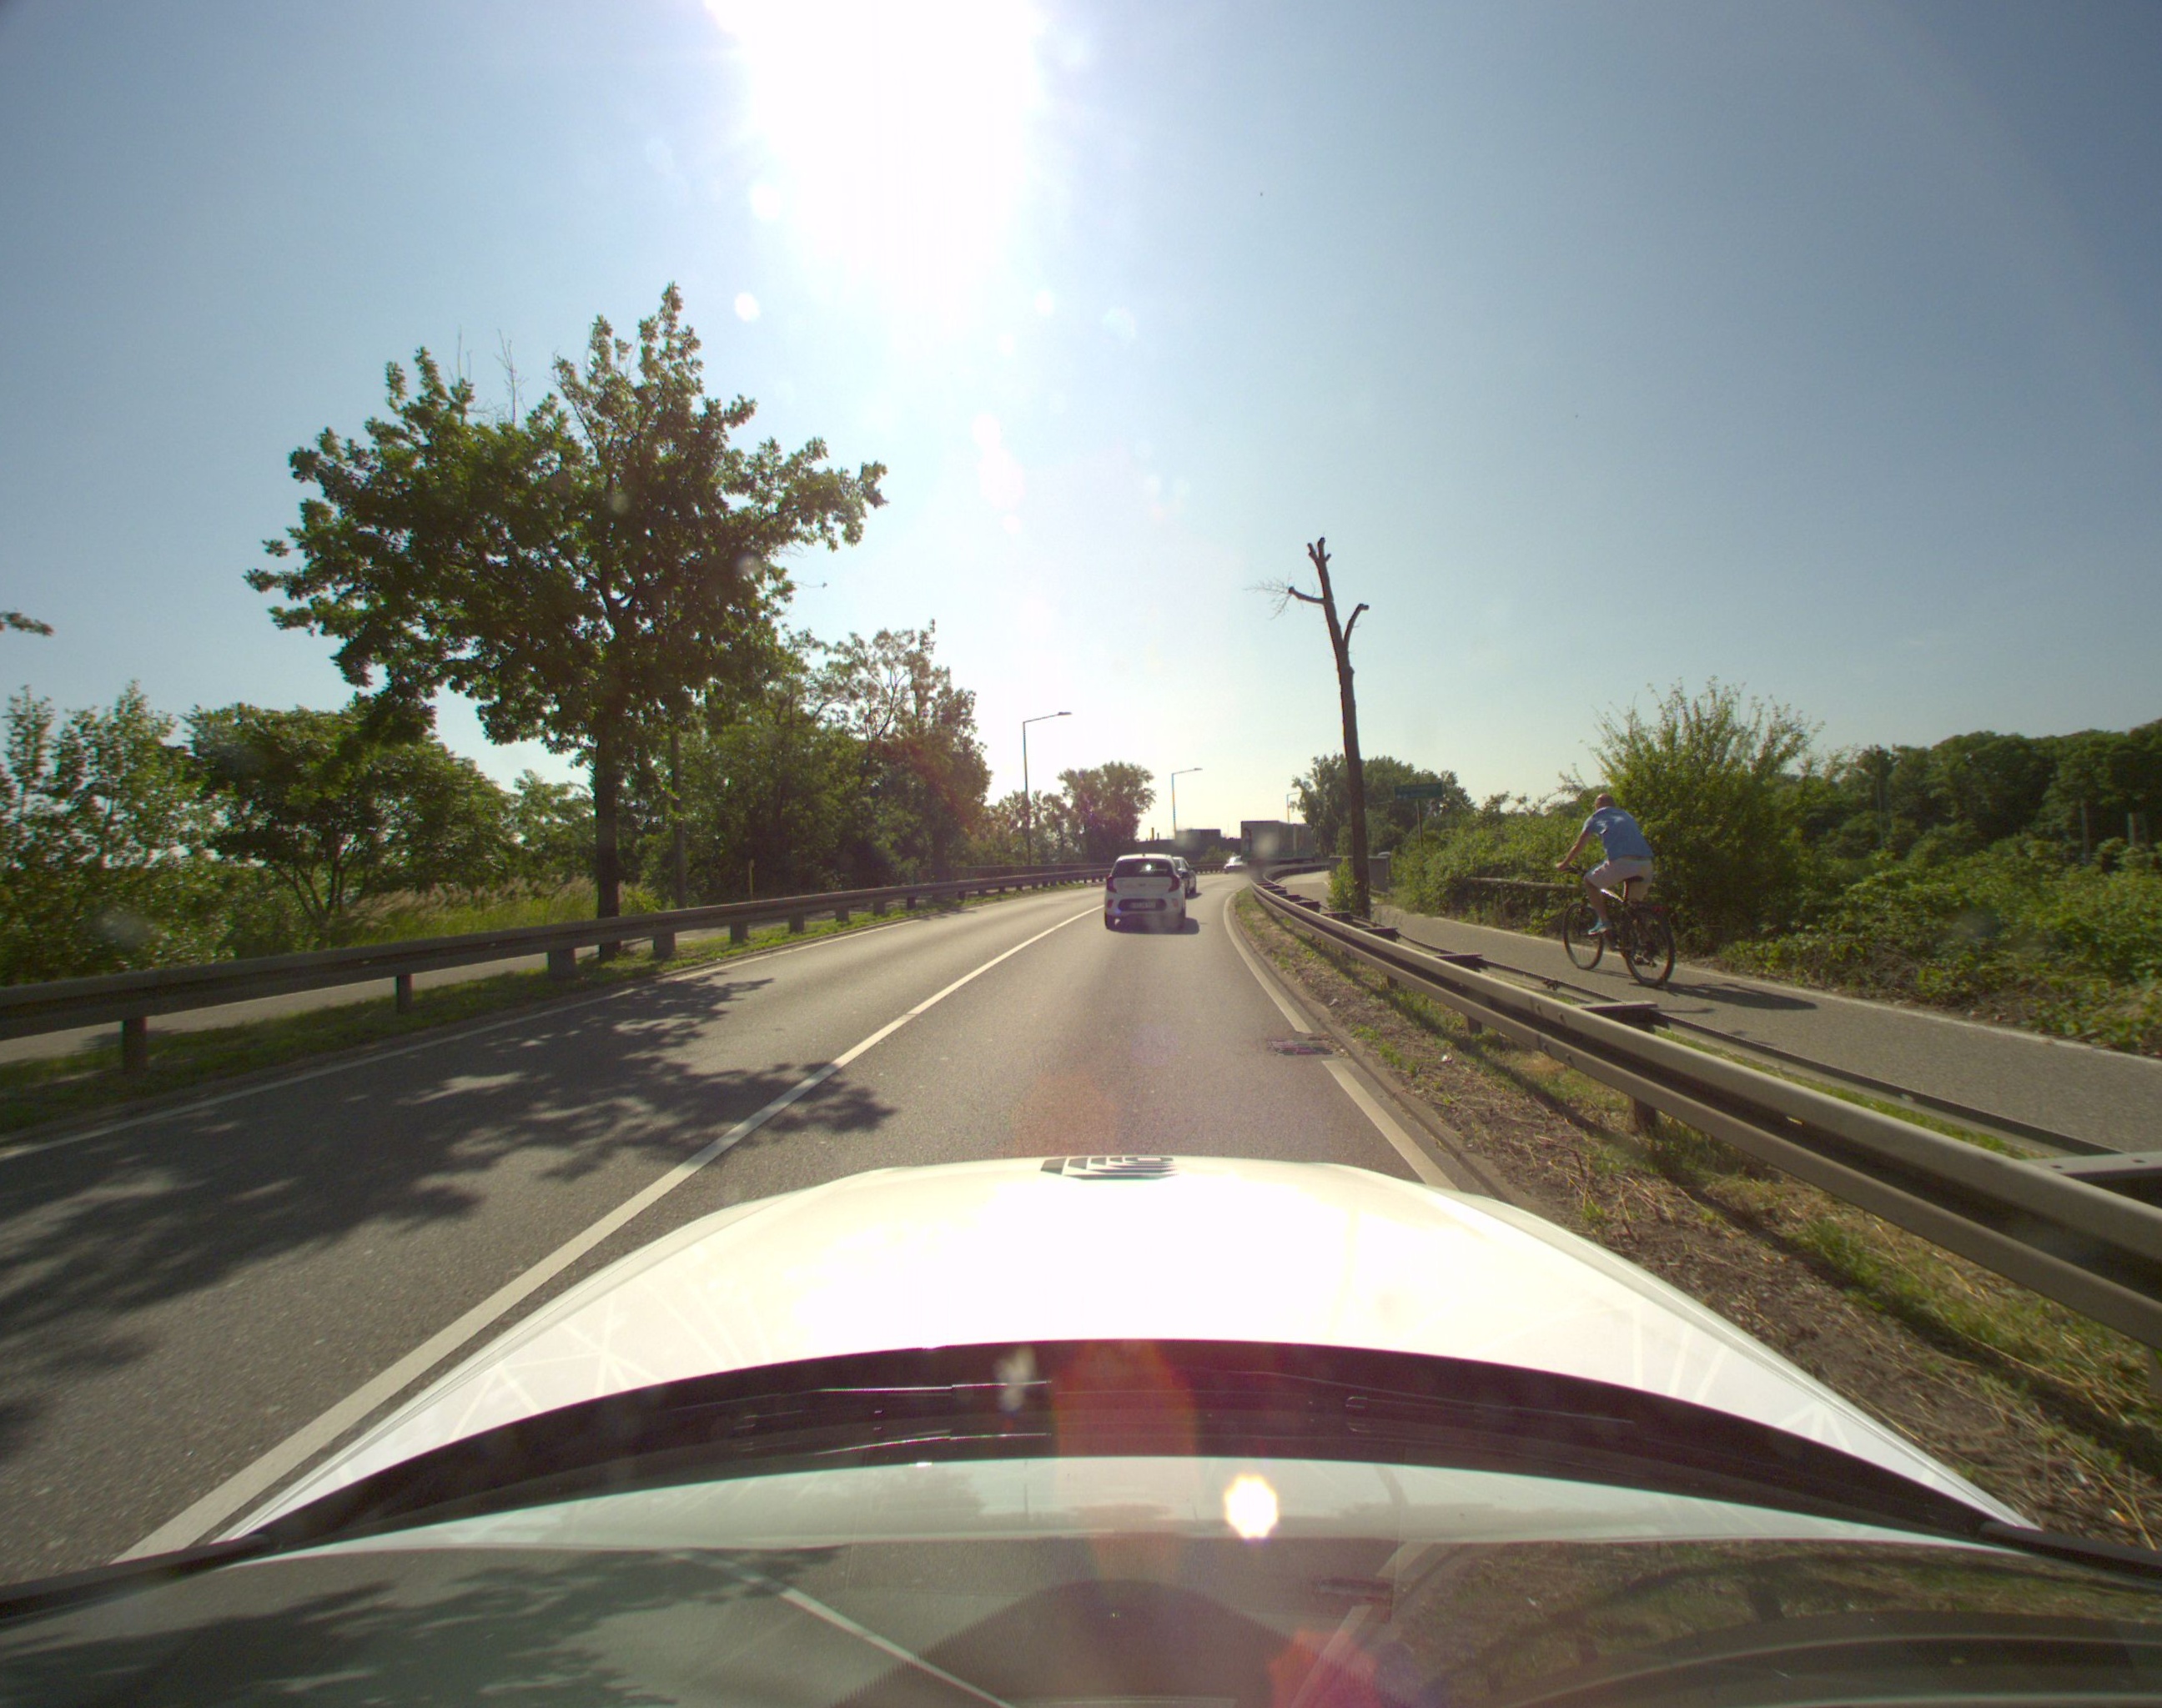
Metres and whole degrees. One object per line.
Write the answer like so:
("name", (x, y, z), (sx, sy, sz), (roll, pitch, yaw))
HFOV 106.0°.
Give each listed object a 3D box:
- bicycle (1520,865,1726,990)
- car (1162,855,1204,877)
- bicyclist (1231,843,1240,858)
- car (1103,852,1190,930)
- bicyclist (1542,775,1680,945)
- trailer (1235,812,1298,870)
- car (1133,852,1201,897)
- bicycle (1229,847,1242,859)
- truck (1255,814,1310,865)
("bicycle", (5.159, 0.651, 7.932), (0.700, 1.020, 1.846), (-5, -1, 0))
("car", (6.938, 0.813, 55.205), (1.701, 1.398, 4.206), (-1, 0, 24))
("bicyclist", (14.864, -0.324, 78.296), (0.602, 1.439, 1.084), (-4, -2, 24))
("car", (1.477, 0.729, 18.009), (1.693, 1.494, 4.006), (0, 0, 5))
("bicyclist", (5.120, 0.066, 7.924), (0.656, 1.520, 0.802), (-5, -2, -2))
("trailer", (13.158, -0.949, 57.259), (3.197, 3.757, 7.867), (0, 2, 21))
("car", (3.249, 0.690, 29.972), (1.926, 1.486, 4.917), (-1, 0, 12))
("bicycle", (14.879, -0.104, 78.289), (0.606, 1.135, 2.161), (-5, -3, 24))
("truck", (16.107, -1.182, 64.639), (3.232, 3.757, 8.415), (0, 2, 21))
